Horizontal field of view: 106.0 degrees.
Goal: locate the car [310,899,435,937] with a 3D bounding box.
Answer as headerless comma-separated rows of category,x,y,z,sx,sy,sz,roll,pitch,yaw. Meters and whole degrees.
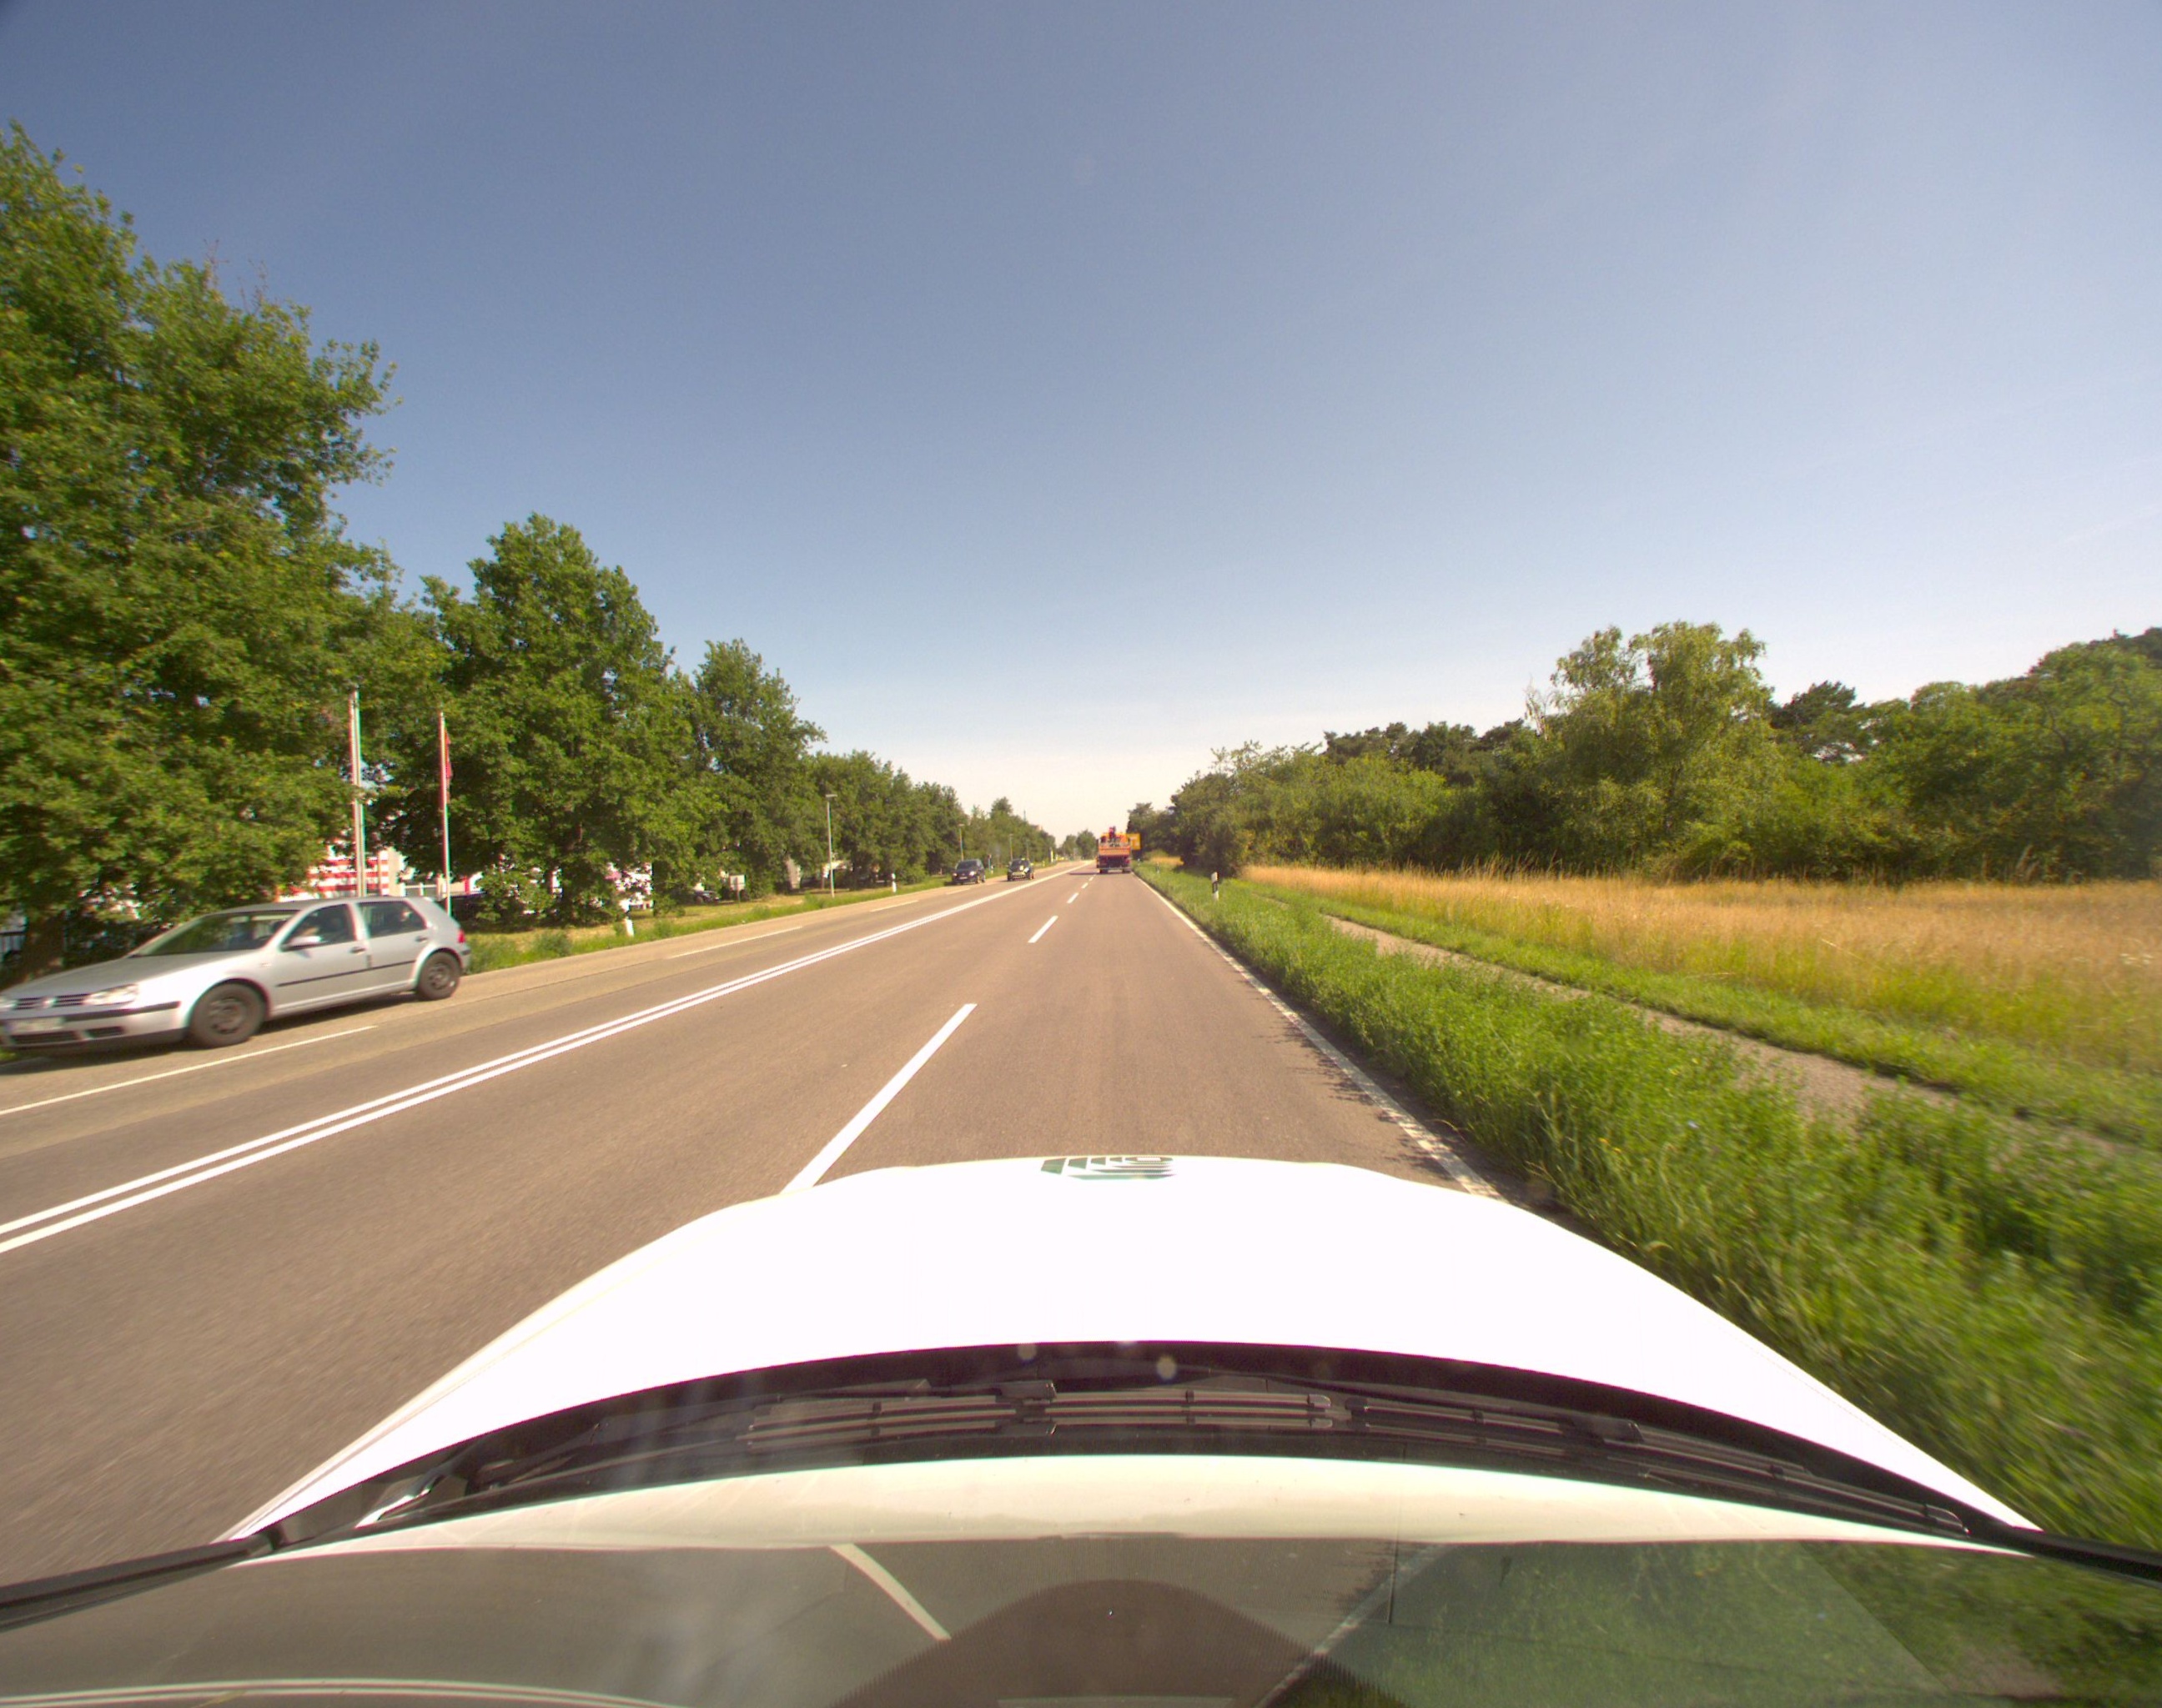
car,-33.647,3.013,38.875,1.781,1.349,4.662,-4,0,0

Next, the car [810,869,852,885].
car,-32.203,2.994,105.046,2.047,1.806,5.048,-3,-1,32

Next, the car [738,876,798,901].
car,-26.632,2.895,69.346,4.207,1.730,2.001,-5,-1,1

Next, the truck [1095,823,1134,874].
truck,2.618,-0.425,66.720,2.863,3.880,7.398,-1,0,0

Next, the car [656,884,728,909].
car,-26.921,2.932,56.425,3.971,1.306,1.864,-5,0,2

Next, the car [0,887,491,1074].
car,-9.193,1.241,9.443,1.592,1.442,4.002,-5,0,2

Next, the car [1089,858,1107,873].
car,1.935,1.323,96.061,1.987,1.583,4.000,-2,0,0

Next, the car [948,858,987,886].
car,-7.616,1.177,55.220,1.819,1.671,4.390,-5,0,1

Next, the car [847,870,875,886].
car,-25.638,2.731,94.968,1.922,1.652,4.192,-3,0,1

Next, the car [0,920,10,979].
car,-29.532,2.543,20.055,3.972,1.500,1.758,-3,0,1

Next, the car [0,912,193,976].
car,-29.279,2.645,24.144,3.972,1.500,1.758,-3,0,1

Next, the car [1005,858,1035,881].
car,-4.181,1.033,56.379,1.511,1.450,3.777,-5,0,2
